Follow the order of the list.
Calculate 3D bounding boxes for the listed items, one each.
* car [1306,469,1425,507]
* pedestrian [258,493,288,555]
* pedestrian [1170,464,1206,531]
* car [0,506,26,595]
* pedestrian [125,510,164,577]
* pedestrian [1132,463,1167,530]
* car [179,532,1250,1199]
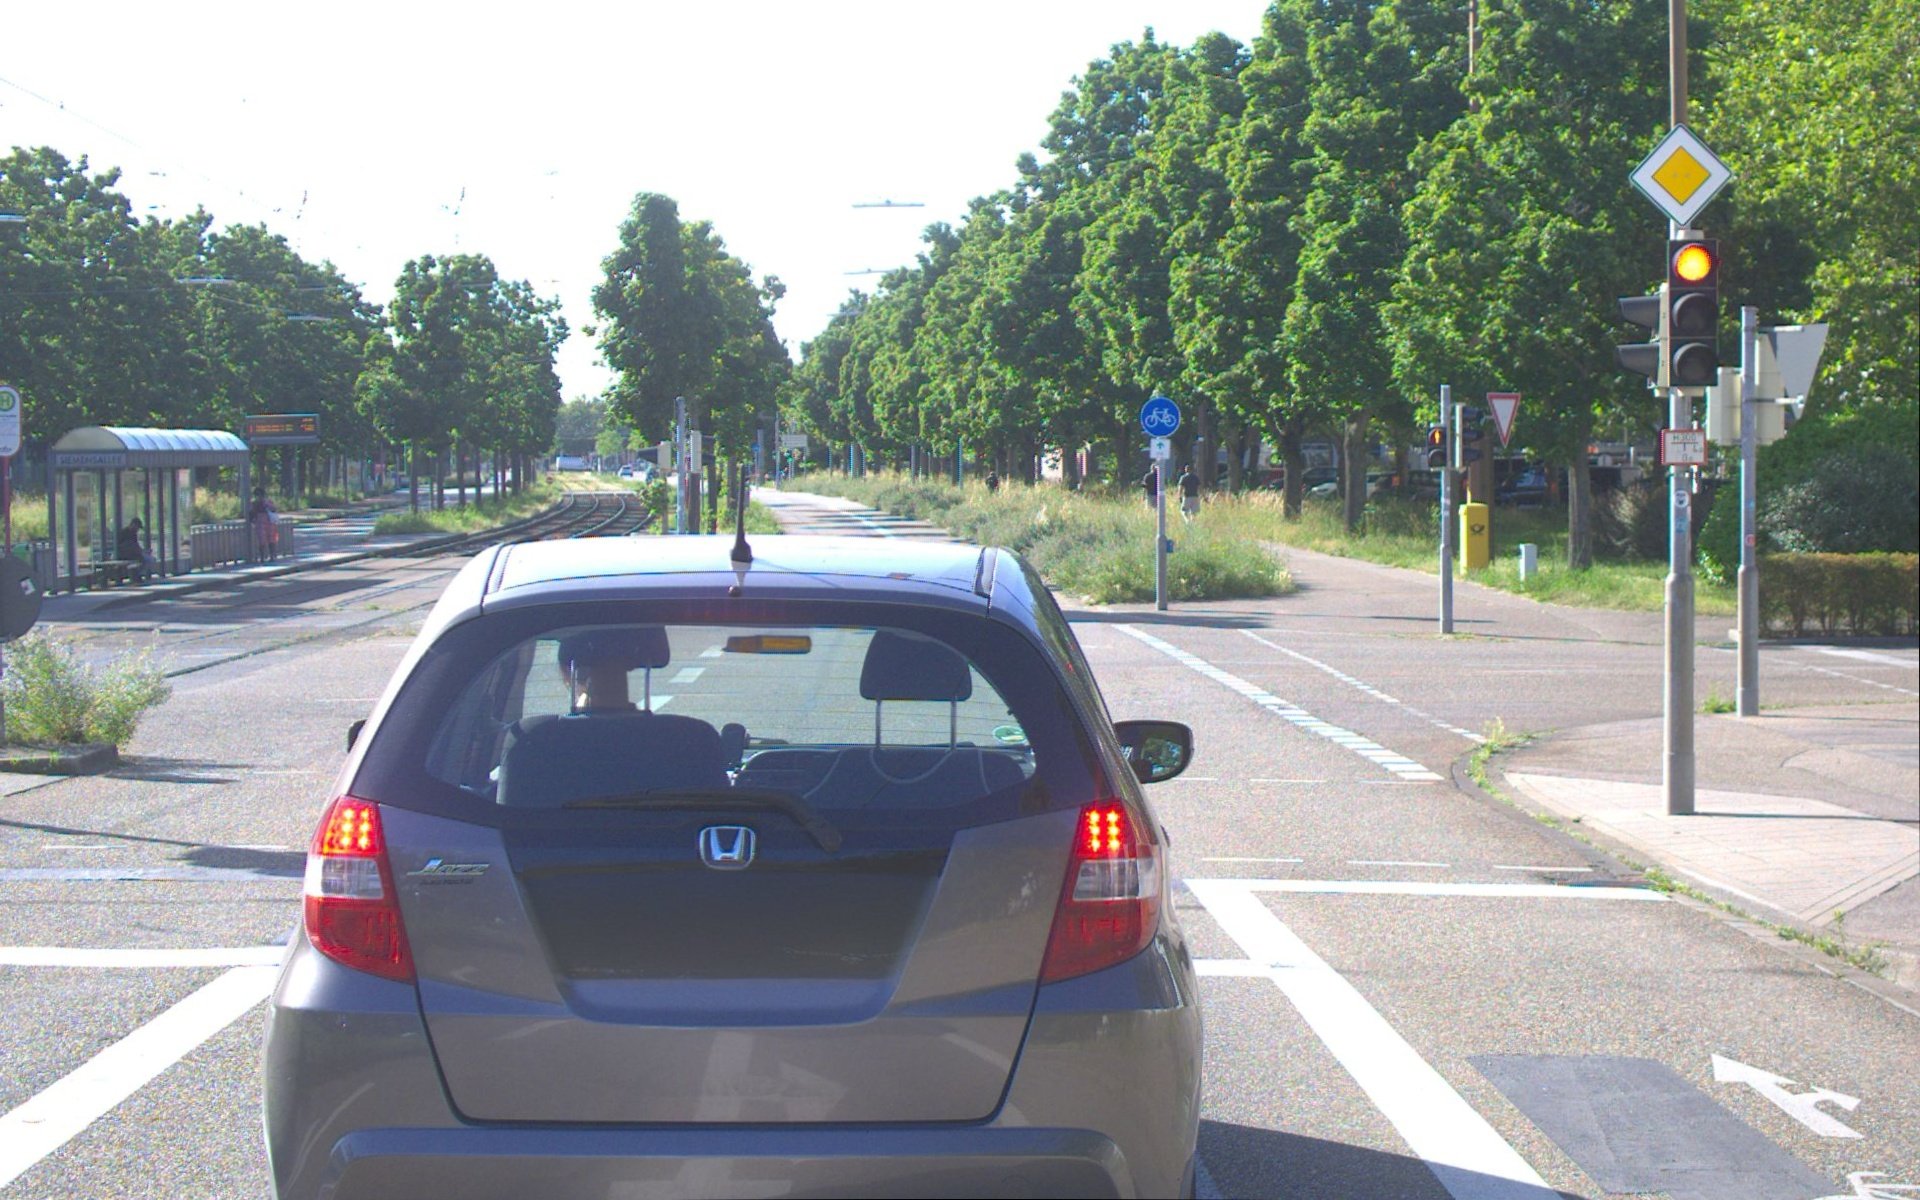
[{"bbox_3d":[17.049,-4.699,144.518,4.630,1.550,2.001,-1,2,-6],"label":"car"},{"bbox_3d":[-15.999,-1.771,80.077,0.544,1.442,0.559,-1,1,-1],"label":"pedestrian"},{"bbox_3d":[6.461,-2.916,97.453,0.882,1.877,0.875,-1,2,-4],"label":"pedestrian"},{"bbox_3d":[-20.824,-0.956,70.590,2.093,1.803,4.794,-2,3,-3],"label":"car"},{"bbox_3d":[-15.546,-1.077,65.524,0.563,1.252,0.581,-3,1,-1],"label":"pedestrian"},{"bbox_3d":[5.359,-2.925,97.377,0.882,1.877,0.875,-1,2,-4],"label":"pedestrian"},{"bbox_3d":[-0.414,0.626,7.345,1.701,1.518,3.710,0,1,-1],"label":"car"}]
